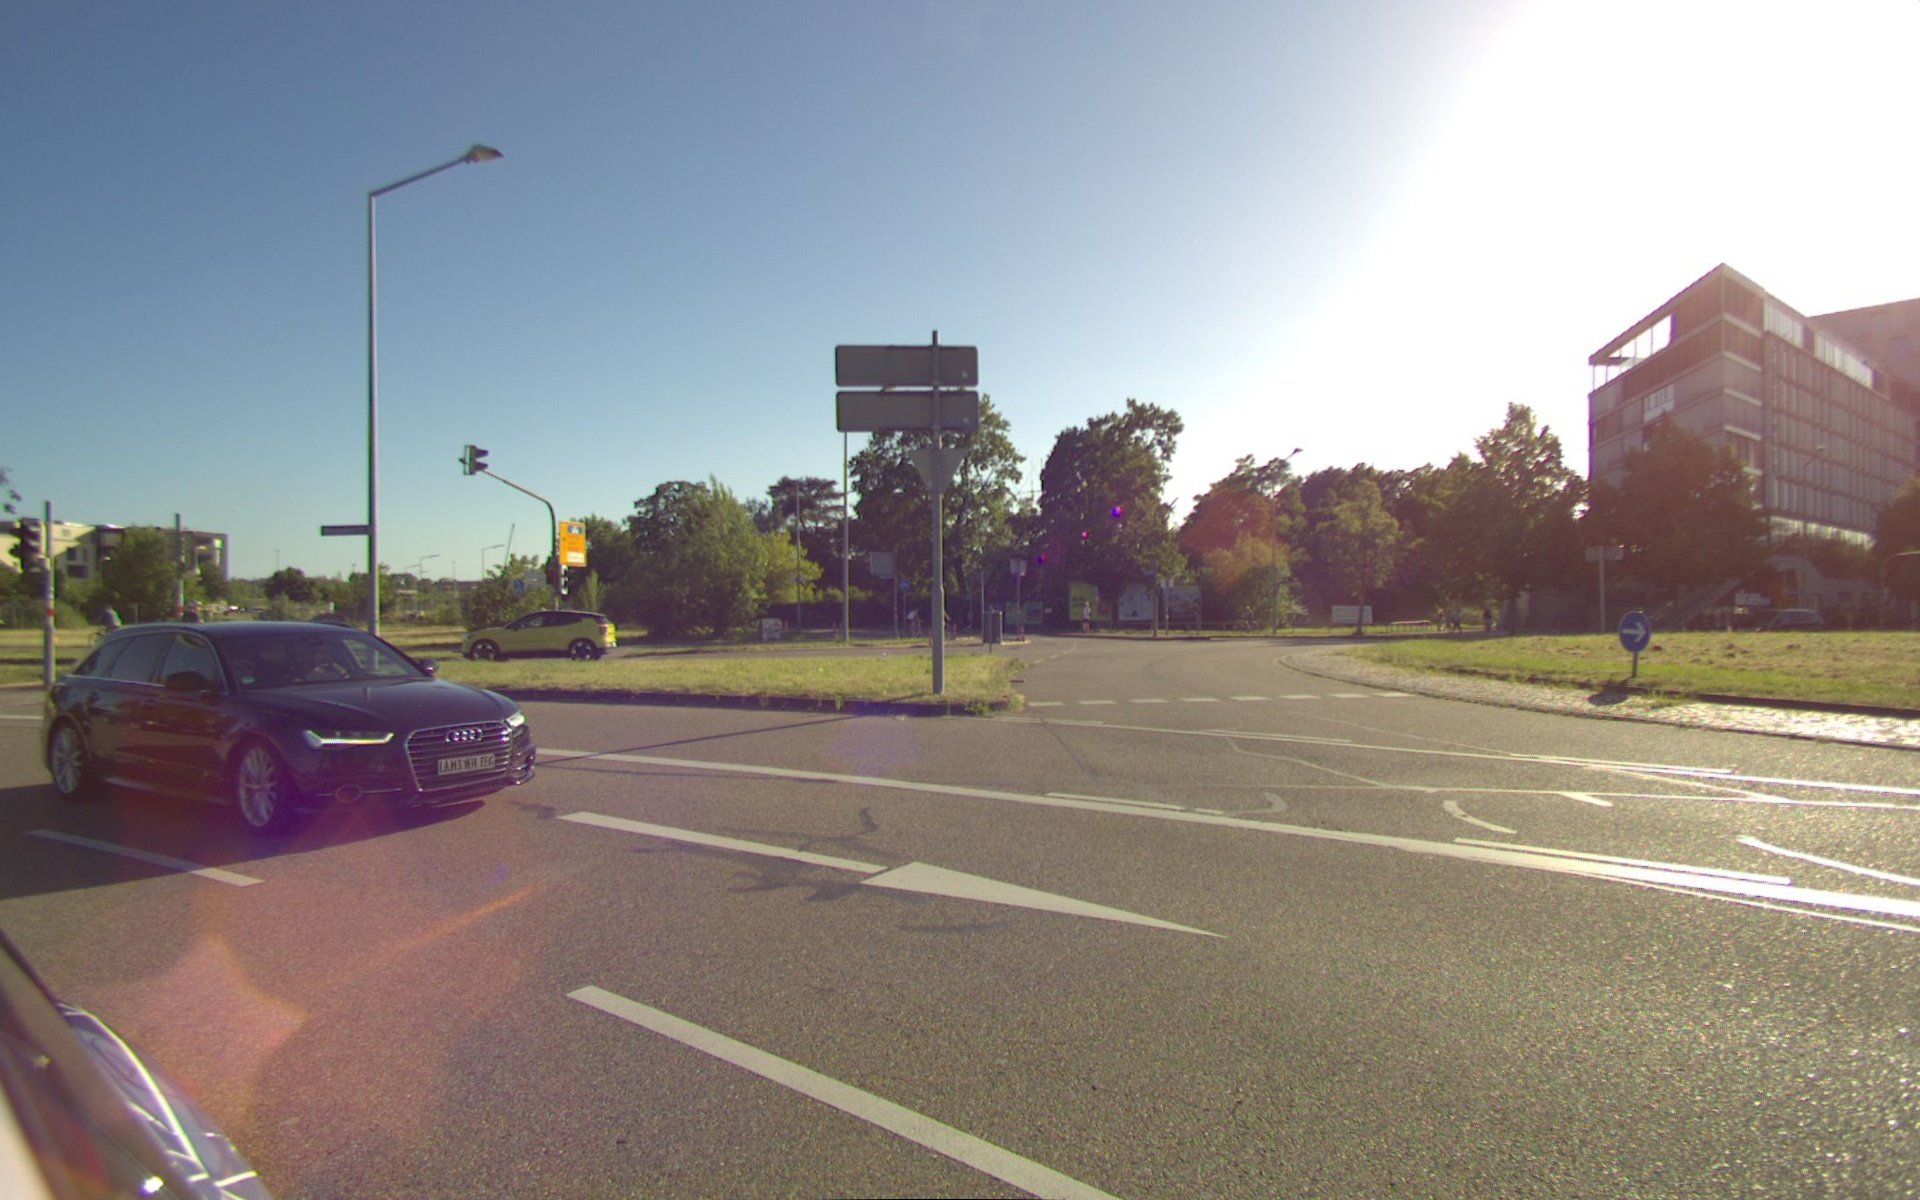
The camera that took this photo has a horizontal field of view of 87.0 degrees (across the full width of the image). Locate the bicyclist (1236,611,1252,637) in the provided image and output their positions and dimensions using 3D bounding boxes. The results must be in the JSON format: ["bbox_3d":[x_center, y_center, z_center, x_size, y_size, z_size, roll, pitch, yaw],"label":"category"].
[{"bbox_3d":[17.762,1.495,63.295,0.823,1.592,0.663,0,-1,-2],"label":"bicyclist"}]

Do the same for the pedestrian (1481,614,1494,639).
[{"bbox_3d":[36.856,1.858,70.737,0.674,1.696,0.882,-1,-1,24],"label":"pedestrian"}]

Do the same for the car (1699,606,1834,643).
[{"bbox_3d":[40.593,1.220,51.028,4.937,1.798,2.465,0,0,-5],"label":"car"}]

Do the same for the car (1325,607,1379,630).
[{"bbox_3d":[31.626,1.516,81.719,3.700,1.819,1.834,-1,-1,8],"label":"car"}]

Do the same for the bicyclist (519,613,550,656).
[{"bbox_3d":[-15.293,1.230,36.397,0.610,1.528,0.922,-1,-1,11],"label":"bicyclist"}]

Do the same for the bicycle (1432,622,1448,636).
[{"bbox_3d":[35.804,2.157,75.458,0.586,1.019,1.845,0,-1,40],"label":"bicycle"}]

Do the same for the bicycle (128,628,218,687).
[{"bbox_3d":[-16.322,1.173,21.035,0.694,1.137,1.657,1,0,-5],"label":"bicycle"}]

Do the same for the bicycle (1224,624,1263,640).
[{"bbox_3d":[17.736,2.013,63.298,2.230,0.995,0.663,0,-1,-2],"label":"bicycle"}]

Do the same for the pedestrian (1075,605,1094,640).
[{"bbox_3d":[7.337,1.333,59.561,0.928,2.021,0.590,0,-1,-17],"label":"pedestrian"}]

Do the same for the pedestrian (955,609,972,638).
[{"bbox_3d":[0.244,1.667,72.104,0.887,2.029,0.819,2,-1,-43],"label":"pedestrian"}]

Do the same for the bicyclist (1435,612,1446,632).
[{"bbox_3d":[35.820,1.643,75.461,0.586,1.479,0.746,0,-1,41],"label":"bicyclist"}]

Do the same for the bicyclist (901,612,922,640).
[{"bbox_3d":[-2.427,1.291,50.580,0.824,1.403,0.618,0,-1,-38],"label":"bicyclist"}]

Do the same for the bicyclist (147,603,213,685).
[{"bbox_3d":[-16.348,0.901,21.236,0.694,1.676,0.944,1,0,-5],"label":"bicyclist"}]

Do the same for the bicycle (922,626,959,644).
[{"bbox_3d":[-0.968,1.774,50.855,1.858,0.859,0.618,0,-1,-38],"label":"bicycle"}]

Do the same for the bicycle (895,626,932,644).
[{"bbox_3d":[-2.321,1.754,50.643,1.858,0.859,0.618,0,-1,-38],"label":"bicycle"}]

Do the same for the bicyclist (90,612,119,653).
[{"bbox_3d":[-33.684,1.276,39.869,0.842,1.576,0.432,-1,-1,9],"label":"bicyclist"}]

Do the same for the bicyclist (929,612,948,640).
[{"bbox_3d":[-1.061,1.310,50.805,0.707,1.403,0.618,0,-1,-38],"label":"bicyclist"}]

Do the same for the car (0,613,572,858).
[{"bbox_3d":[-5.591,0.882,8.137,4.993,1.454,1.781,-1,0,28],"label":"car"}]

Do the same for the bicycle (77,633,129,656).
[{"bbox_3d":[-33.774,1.748,39.876,1.867,0.859,0.490,-1,-1,9],"label":"bicycle"}]

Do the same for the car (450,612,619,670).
[{"bbox_3d":[-12.295,1.158,29.543,4.253,1.553,2.014,0,-1,-12],"label":"car"}]

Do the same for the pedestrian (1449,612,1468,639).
[{"bbox_3d":[31.506,1.601,63.962,0.752,1.642,0.884,-1,-1,6],"label":"pedestrian"}]

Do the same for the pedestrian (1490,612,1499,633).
[{"bbox_3d":[41.957,1.757,79.461,0.504,1.701,0.546,-1,-1,43],"label":"pedestrian"}]
